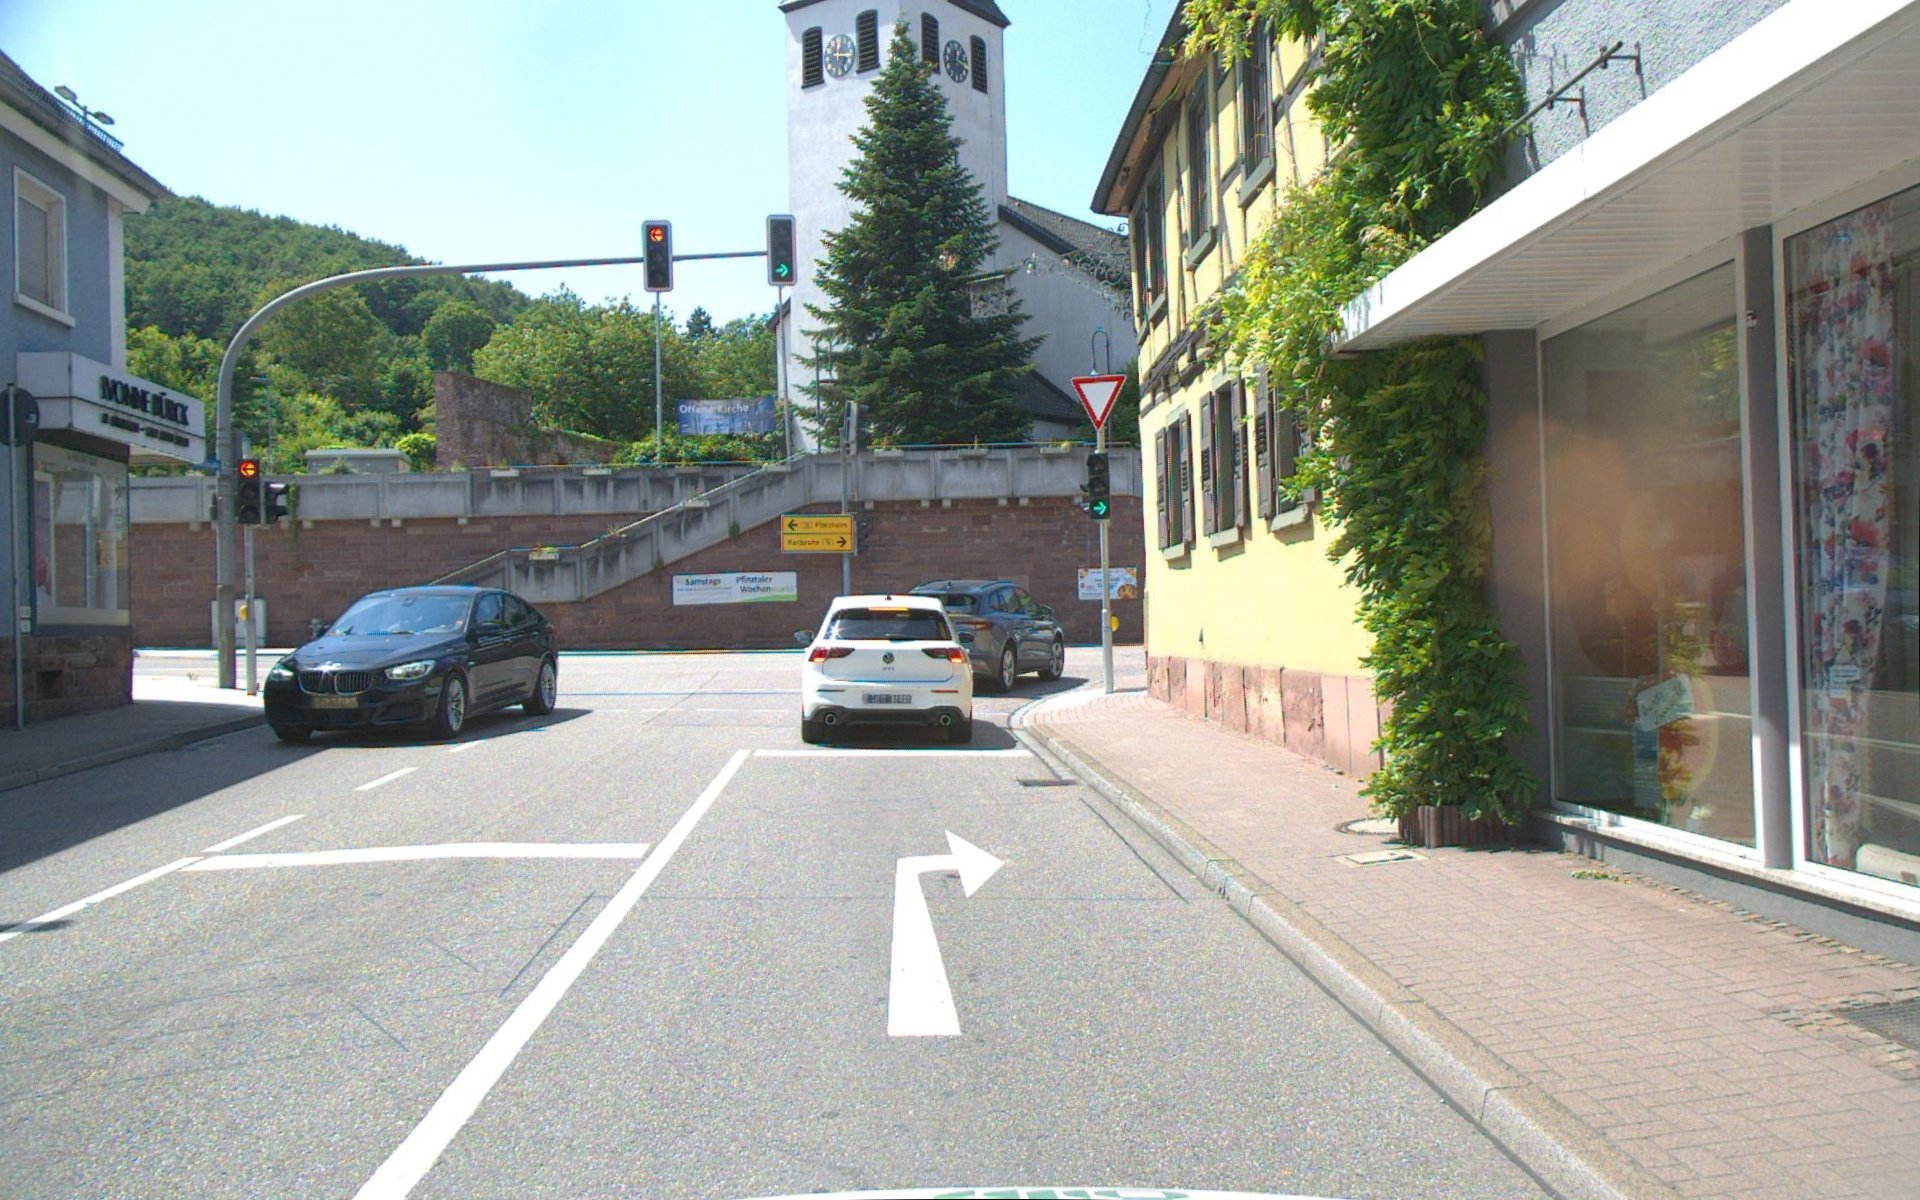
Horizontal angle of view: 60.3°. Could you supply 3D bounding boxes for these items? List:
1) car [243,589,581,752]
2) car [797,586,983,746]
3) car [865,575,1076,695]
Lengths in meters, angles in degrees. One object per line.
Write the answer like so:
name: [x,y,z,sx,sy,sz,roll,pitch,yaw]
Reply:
car: [-5.924,0.686,18.580,1.759,1.513,4.800,-3,0,5]
car: [-0.753,0.638,17.775,1.747,1.484,3.861,-1,0,-3]
car: [0.270,0.465,25.707,1.909,1.610,4.327,0,2,20]
